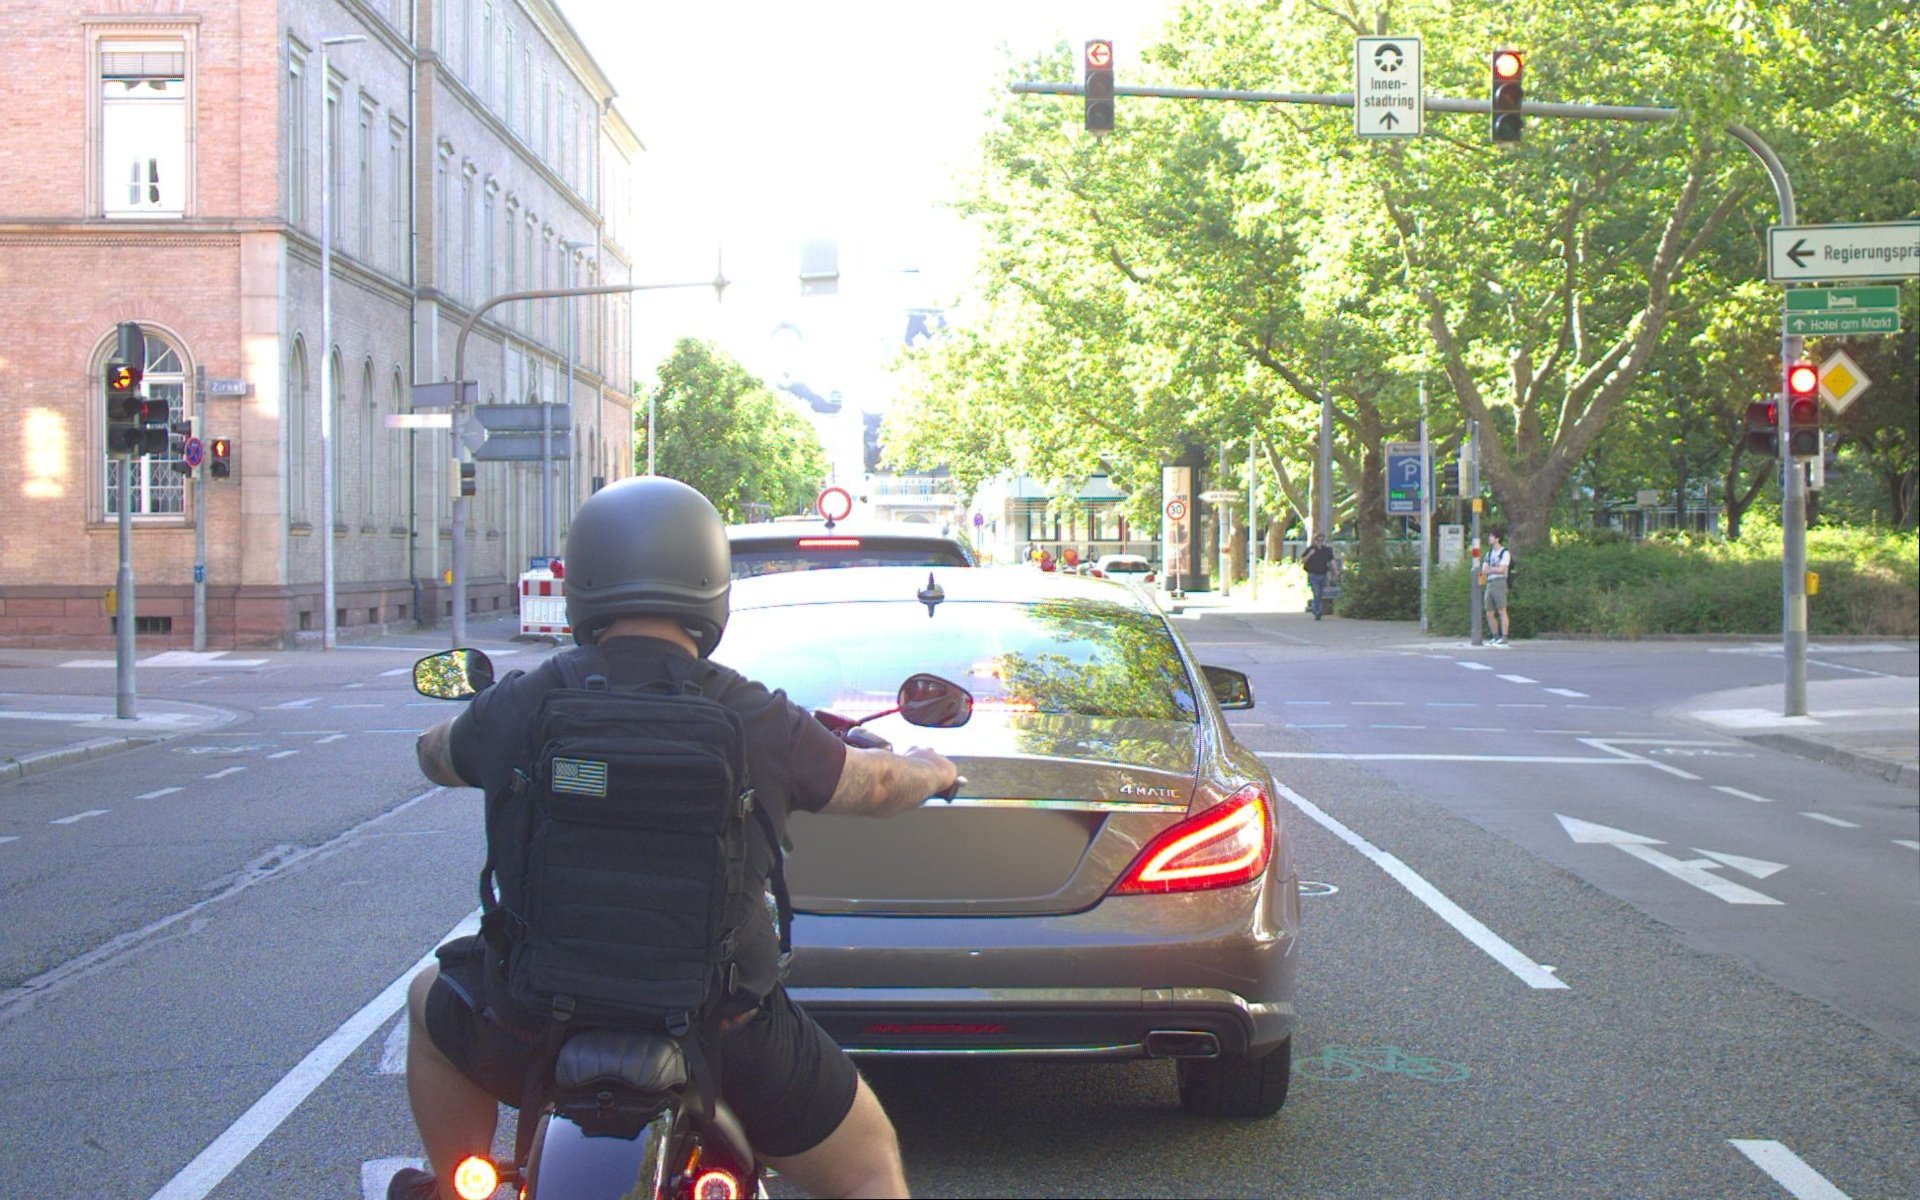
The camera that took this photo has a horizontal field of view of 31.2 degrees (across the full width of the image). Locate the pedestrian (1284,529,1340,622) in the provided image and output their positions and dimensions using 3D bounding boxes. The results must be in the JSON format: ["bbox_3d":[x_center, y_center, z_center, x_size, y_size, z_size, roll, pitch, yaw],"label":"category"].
[{"bbox_3d":[7.257,-0.505,70.887,0.749,1.903,0.926,1,0,-28],"label":"pedestrian"}]

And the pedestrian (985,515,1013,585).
[{"bbox_3d":[1.144,-1.459,100.833,0.764,2.044,0.712,1,0,-1],"label":"pedestrian"}]

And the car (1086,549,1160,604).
[{"bbox_3d":[4.384,-0.647,92.738,1.776,1.423,3.802,0,1,-1],"label":"car"}]

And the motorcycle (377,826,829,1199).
[{"bbox_3d":[-0.494,0.931,5.352,0.513,0.999,2.013,1,1,-1],"label":"motorcycle"}]

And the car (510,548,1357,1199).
[{"bbox_3d":[-0.082,0.599,9.633,1.882,1.444,3.820,1,1,-1],"label":"car"}]

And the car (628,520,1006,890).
[{"bbox_3d":[-0.636,0.414,16.748,1.621,1.588,4.000,0,1,-1],"label":"car"}]

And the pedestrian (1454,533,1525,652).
[{"bbox_3d":[8.244,-0.121,53.542,1.002,1.820,1.076,1,0,6],"label":"pedestrian"}]

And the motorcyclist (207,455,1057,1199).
[{"bbox_3d":[-0.460,0.600,5.348,1.149,1.593,1.288,1,0,-1],"label":"motorcyclist"}]
